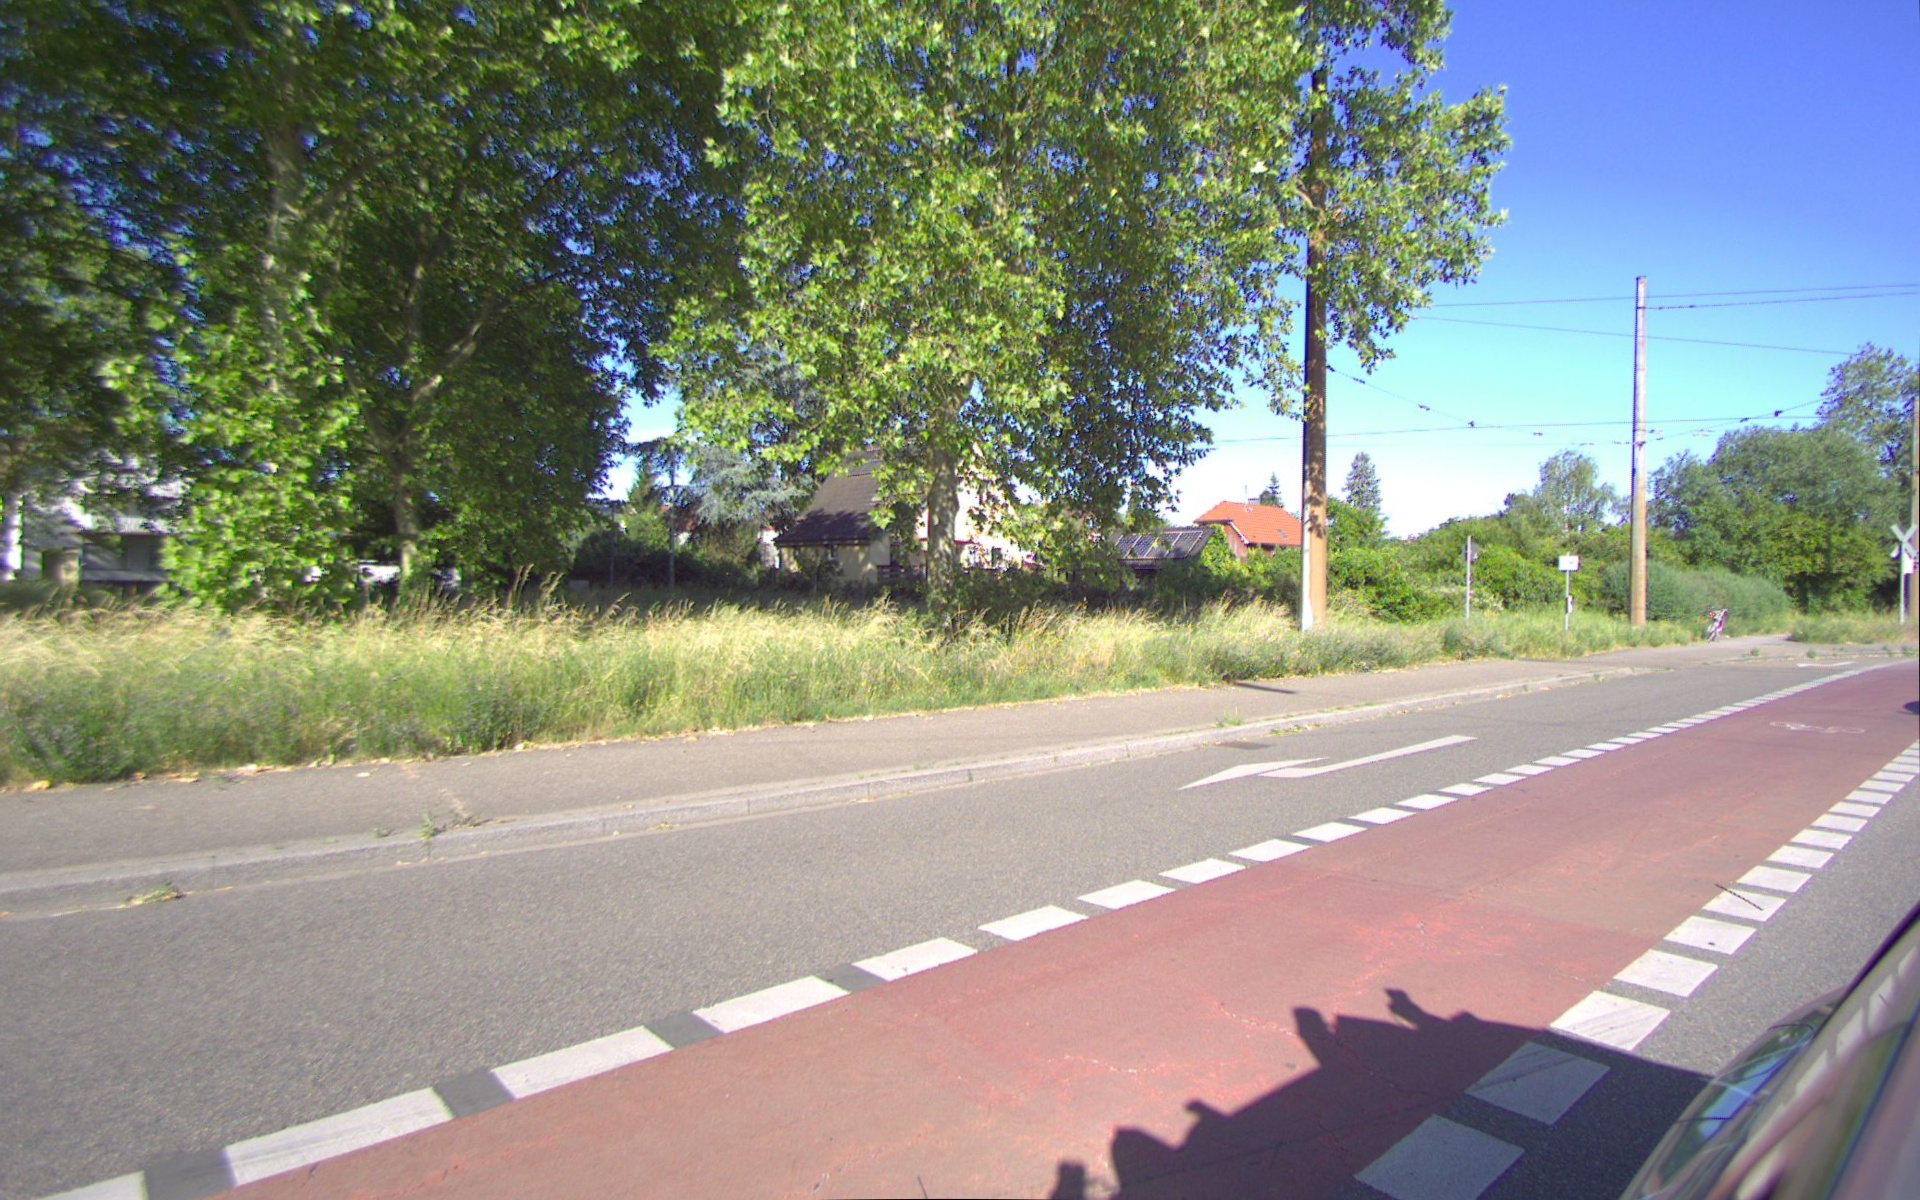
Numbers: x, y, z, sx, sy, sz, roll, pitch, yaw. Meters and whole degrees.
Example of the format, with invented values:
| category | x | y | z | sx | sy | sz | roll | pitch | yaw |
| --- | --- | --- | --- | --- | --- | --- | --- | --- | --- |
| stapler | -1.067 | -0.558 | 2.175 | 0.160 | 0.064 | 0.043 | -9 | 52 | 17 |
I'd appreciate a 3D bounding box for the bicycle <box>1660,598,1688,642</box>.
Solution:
| category | x | y | z | sx | sy | sz | roll | pitch | yaw |
| --- | --- | --- | --- | --- | --- | --- | --- | --- | --- |
| bicycle | 19.480 | 0.515 | 27.637 | 0.363 | 1.149 | 2.074 | 1 | 1 | 29 |
